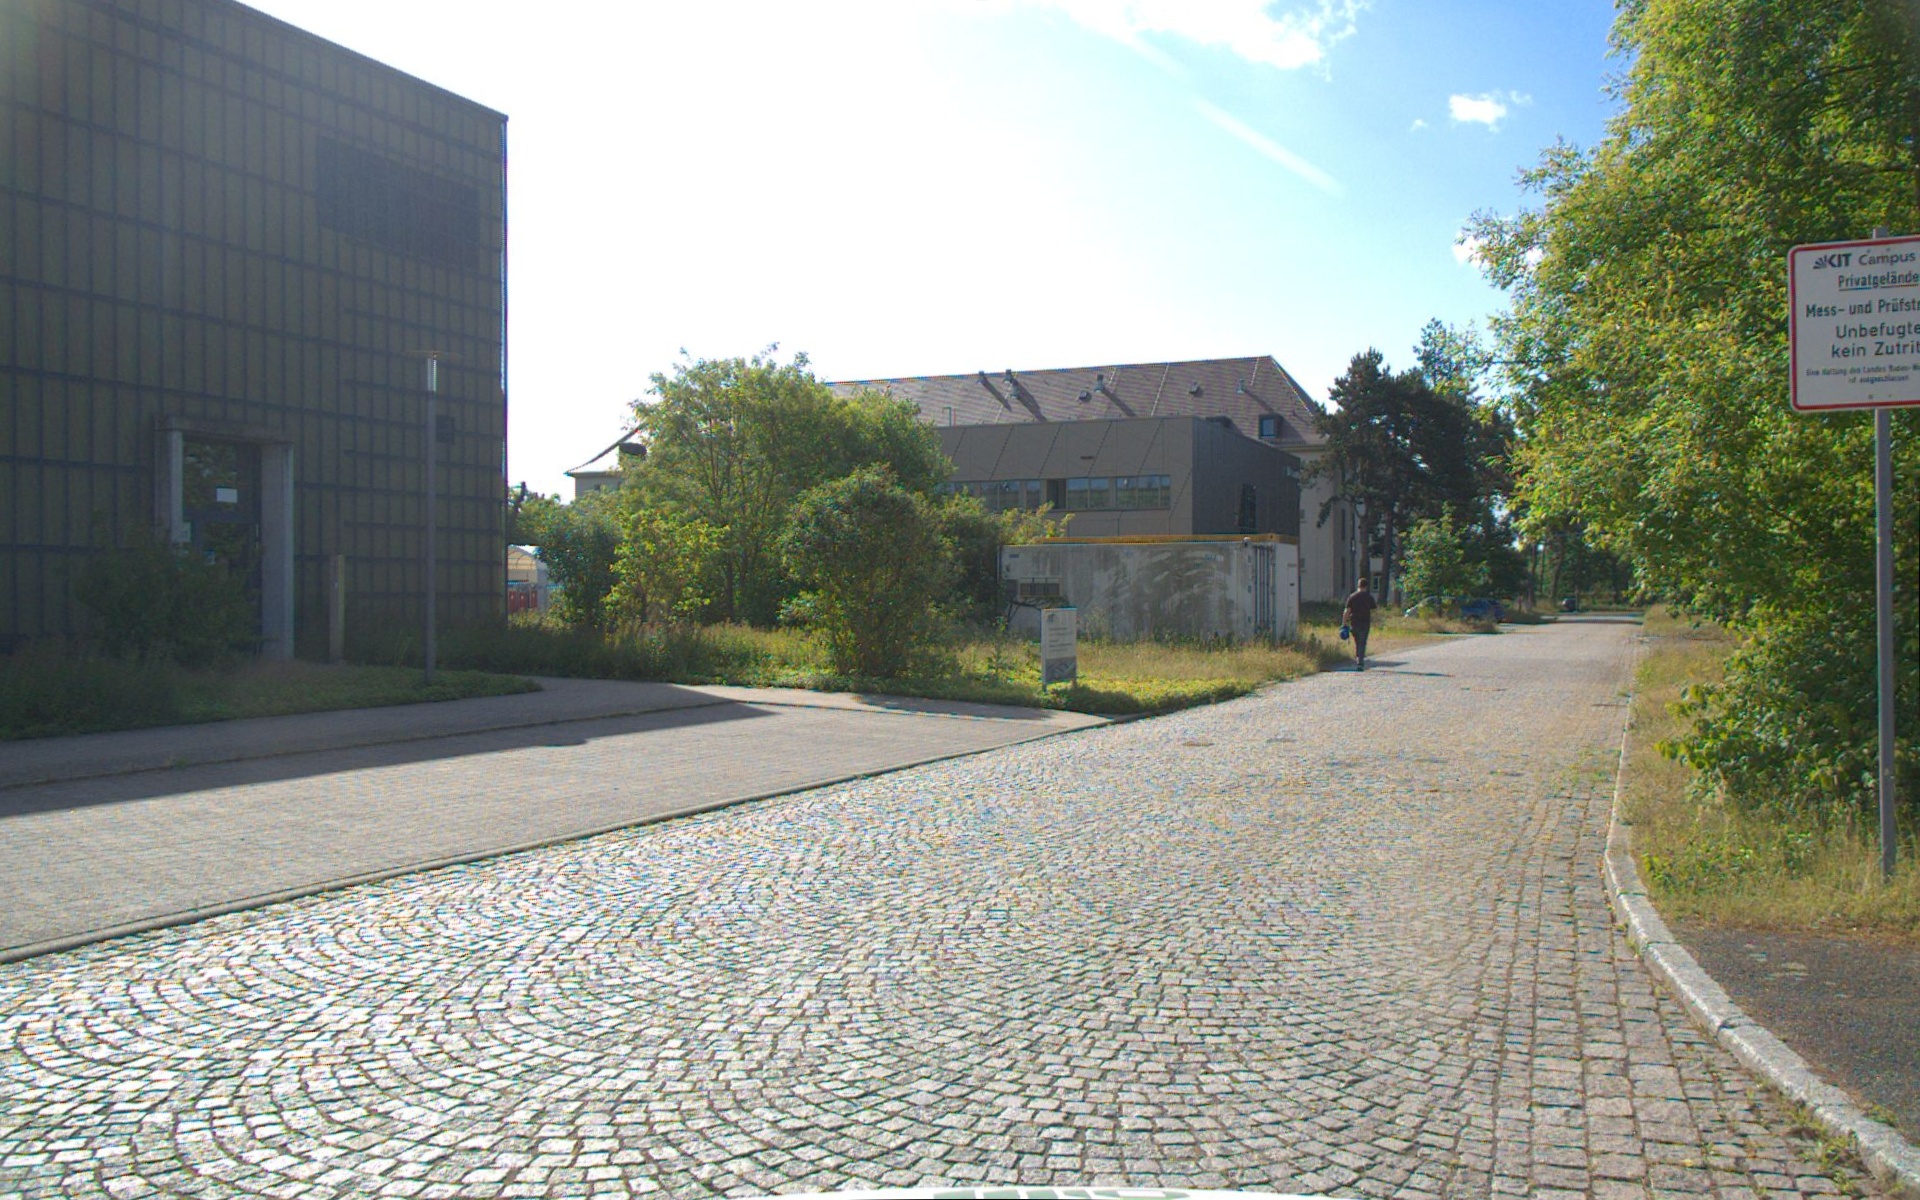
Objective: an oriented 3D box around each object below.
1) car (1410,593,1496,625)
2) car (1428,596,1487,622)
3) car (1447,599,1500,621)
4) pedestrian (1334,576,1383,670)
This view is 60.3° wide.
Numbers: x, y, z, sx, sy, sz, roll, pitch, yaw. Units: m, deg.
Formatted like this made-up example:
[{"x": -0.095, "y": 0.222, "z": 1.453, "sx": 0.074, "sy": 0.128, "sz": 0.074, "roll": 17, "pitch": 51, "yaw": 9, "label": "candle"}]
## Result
[{"x": 23.101, "y": 0.419, "z": 77.523, "sx": 3.754, "sy": 1.466, "sz": 1.583, "roll": 0, "pitch": 0, "yaw": 21, "label": "car"}, {"x": 25.354, "y": 0.468, "z": 84.367, "sx": 2.840, "sy": 1.281, "sz": 1.289, "roll": 0, "pitch": 0, "yaw": 14, "label": "car"}, {"x": 28.848, "y": 0.561, "z": 93.019, "sx": 2.793, "sy": 1.227, "sz": 1.375, "roll": 0, "pitch": 0, "yaw": 14, "label": "car"}, {"x": 7.959, "y": 0.450, "z": 33.005, "sx": 0.778, "sy": 1.812, "sz": 1.068, "roll": 1, "pitch": 0, "yaw": 21, "label": "pedestrian"}]
